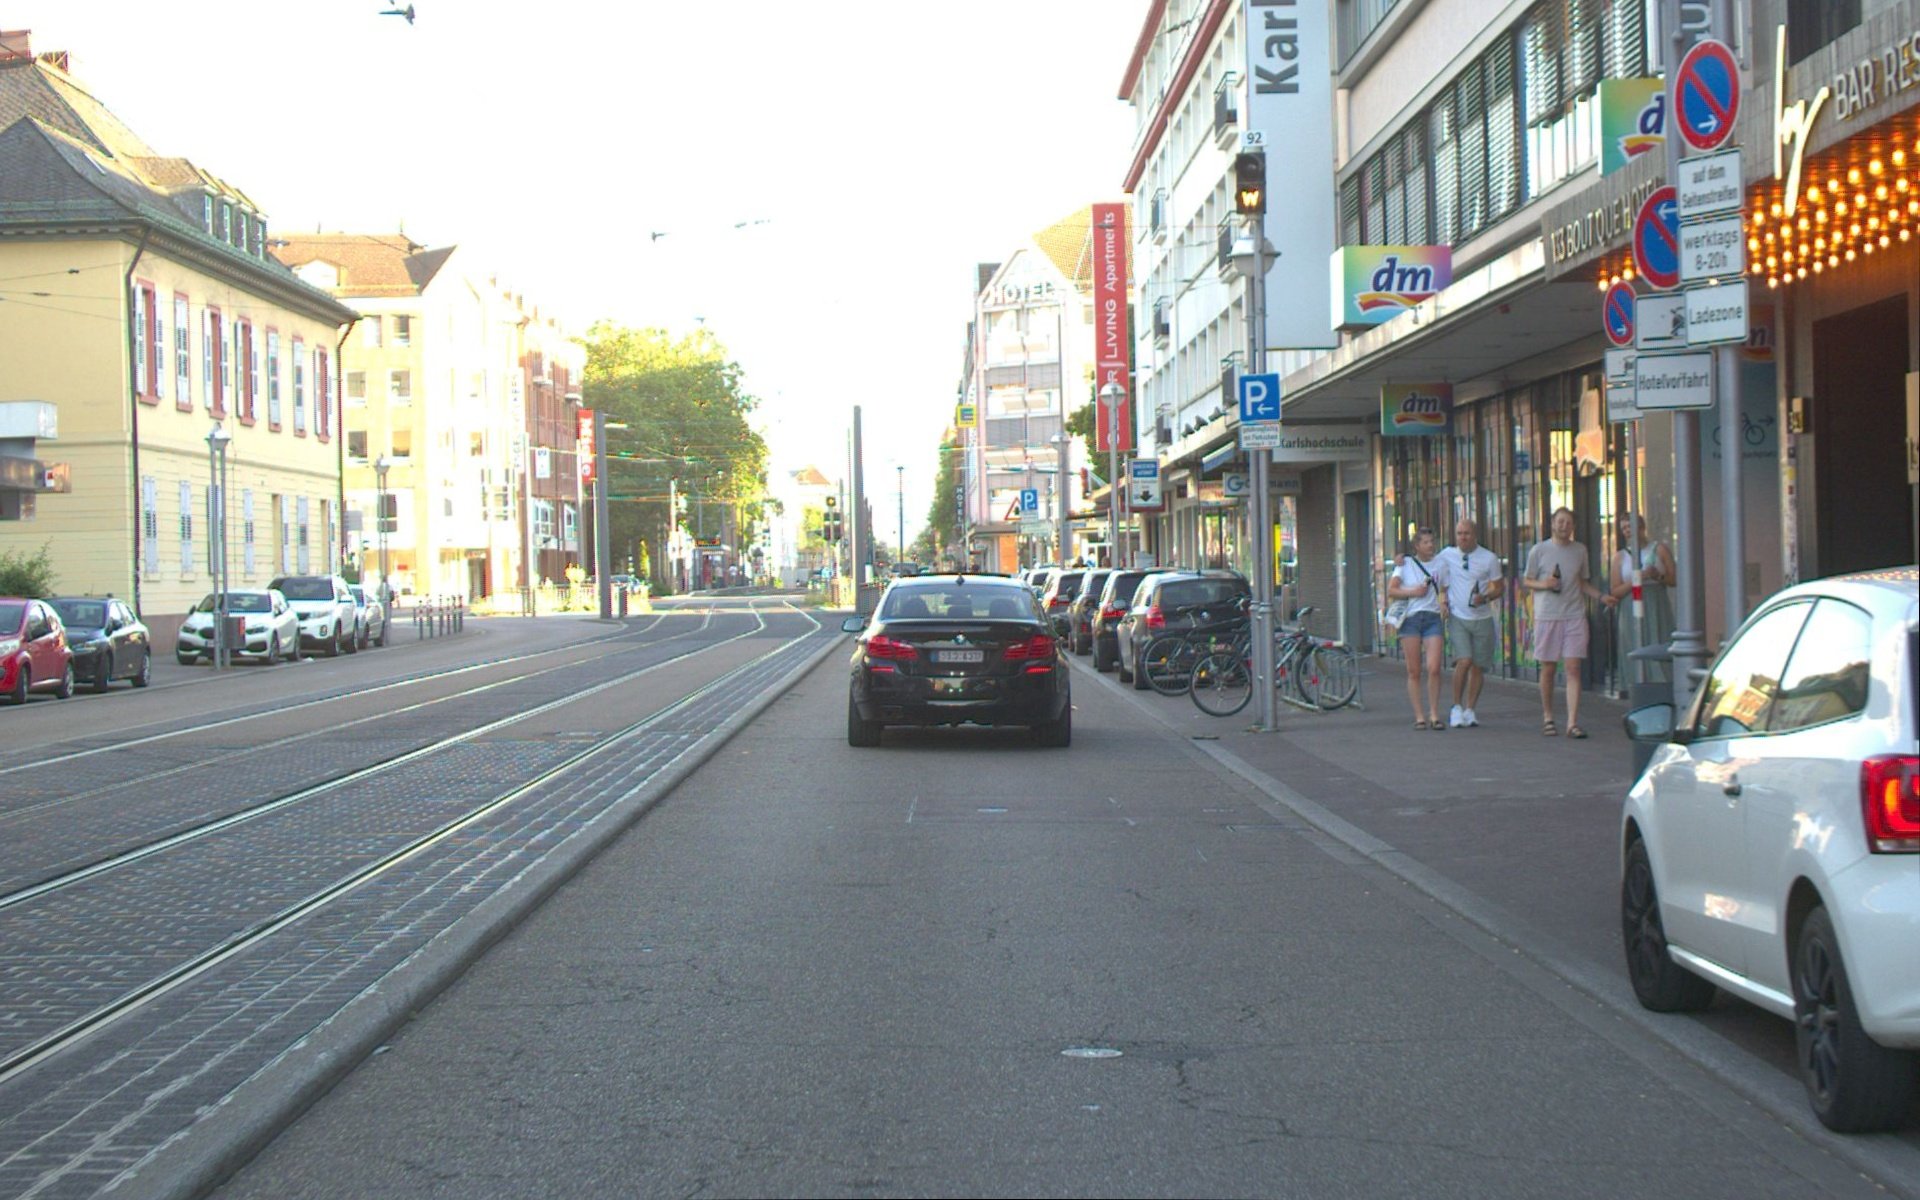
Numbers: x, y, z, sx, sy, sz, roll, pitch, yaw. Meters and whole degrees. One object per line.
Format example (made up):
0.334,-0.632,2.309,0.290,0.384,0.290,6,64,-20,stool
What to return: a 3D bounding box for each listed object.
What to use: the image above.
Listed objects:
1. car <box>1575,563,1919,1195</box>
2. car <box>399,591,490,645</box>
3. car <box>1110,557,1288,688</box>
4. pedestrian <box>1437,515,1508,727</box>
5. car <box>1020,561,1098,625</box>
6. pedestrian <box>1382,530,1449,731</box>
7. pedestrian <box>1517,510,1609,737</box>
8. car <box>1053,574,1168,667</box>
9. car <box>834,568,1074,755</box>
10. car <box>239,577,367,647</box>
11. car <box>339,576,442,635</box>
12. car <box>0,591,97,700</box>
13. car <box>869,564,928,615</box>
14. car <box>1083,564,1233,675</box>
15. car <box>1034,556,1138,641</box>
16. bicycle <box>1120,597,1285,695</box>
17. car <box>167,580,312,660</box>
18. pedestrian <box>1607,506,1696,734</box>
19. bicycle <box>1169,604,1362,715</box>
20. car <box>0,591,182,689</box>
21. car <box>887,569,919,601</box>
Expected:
2.925,0.635,10.041,1.559,1.437,3.709,-3,1,1,car
-14.441,0.496,96.465,1.928,1.430,4.246,0,1,0,car
2.942,0.269,43.121,1.903,1.543,4.000,0,0,-1,car
4.396,0.173,29.516,0.488,1.784,0.760,-1,0,3,pedestrian
2.443,-0.163,85.392,1.774,1.543,3.503,0,0,-1,car
3.907,0.257,29.531,0.475,1.693,0.752,-1,0,3,pedestrian
4.845,0.182,27.635,0.554,1.785,0.760,-1,0,0,pedestrian
2.569,0.340,59.235,1.774,1.543,3.503,0,0,-1,car
-0.012,0.485,30.363,1.953,1.493,4.465,-1,1,1,car
-13.954,0.234,73.205,1.928,1.430,4.246,0,1,0,car
-14.398,0.122,87.114,1.928,1.430,4.246,0,1,0,car
-13.681,0.610,48.592,1.928,1.430,4.246,0,1,0,car
-1.892,-0.316,106.730,1.774,1.543,3.503,0,0,-1,car
2.822,0.286,49.798,1.903,1.543,3.780,0,0,-1,car
2.338,-0.030,64.565,1.774,1.543,3.503,0,0,-1,car
2.798,0.532,39.742,1.861,1.115,0.468,-1,-1,1,bicycle
-14.016,0.370,67.075,1.928,1.430,4.246,-1,1,0,car
5.516,0.154,27.443,0.508,1.786,0.760,-1,0,0,pedestrian
3.006,0.584,33.932,1.861,1.076,0.468,-1,-1,1,bicycle
-13.579,0.590,53.665,1.928,1.430,4.246,0,1,0,car
-3.628,-0.951,217.666,1.993,1.832,3.999,0,-2,-1,car
